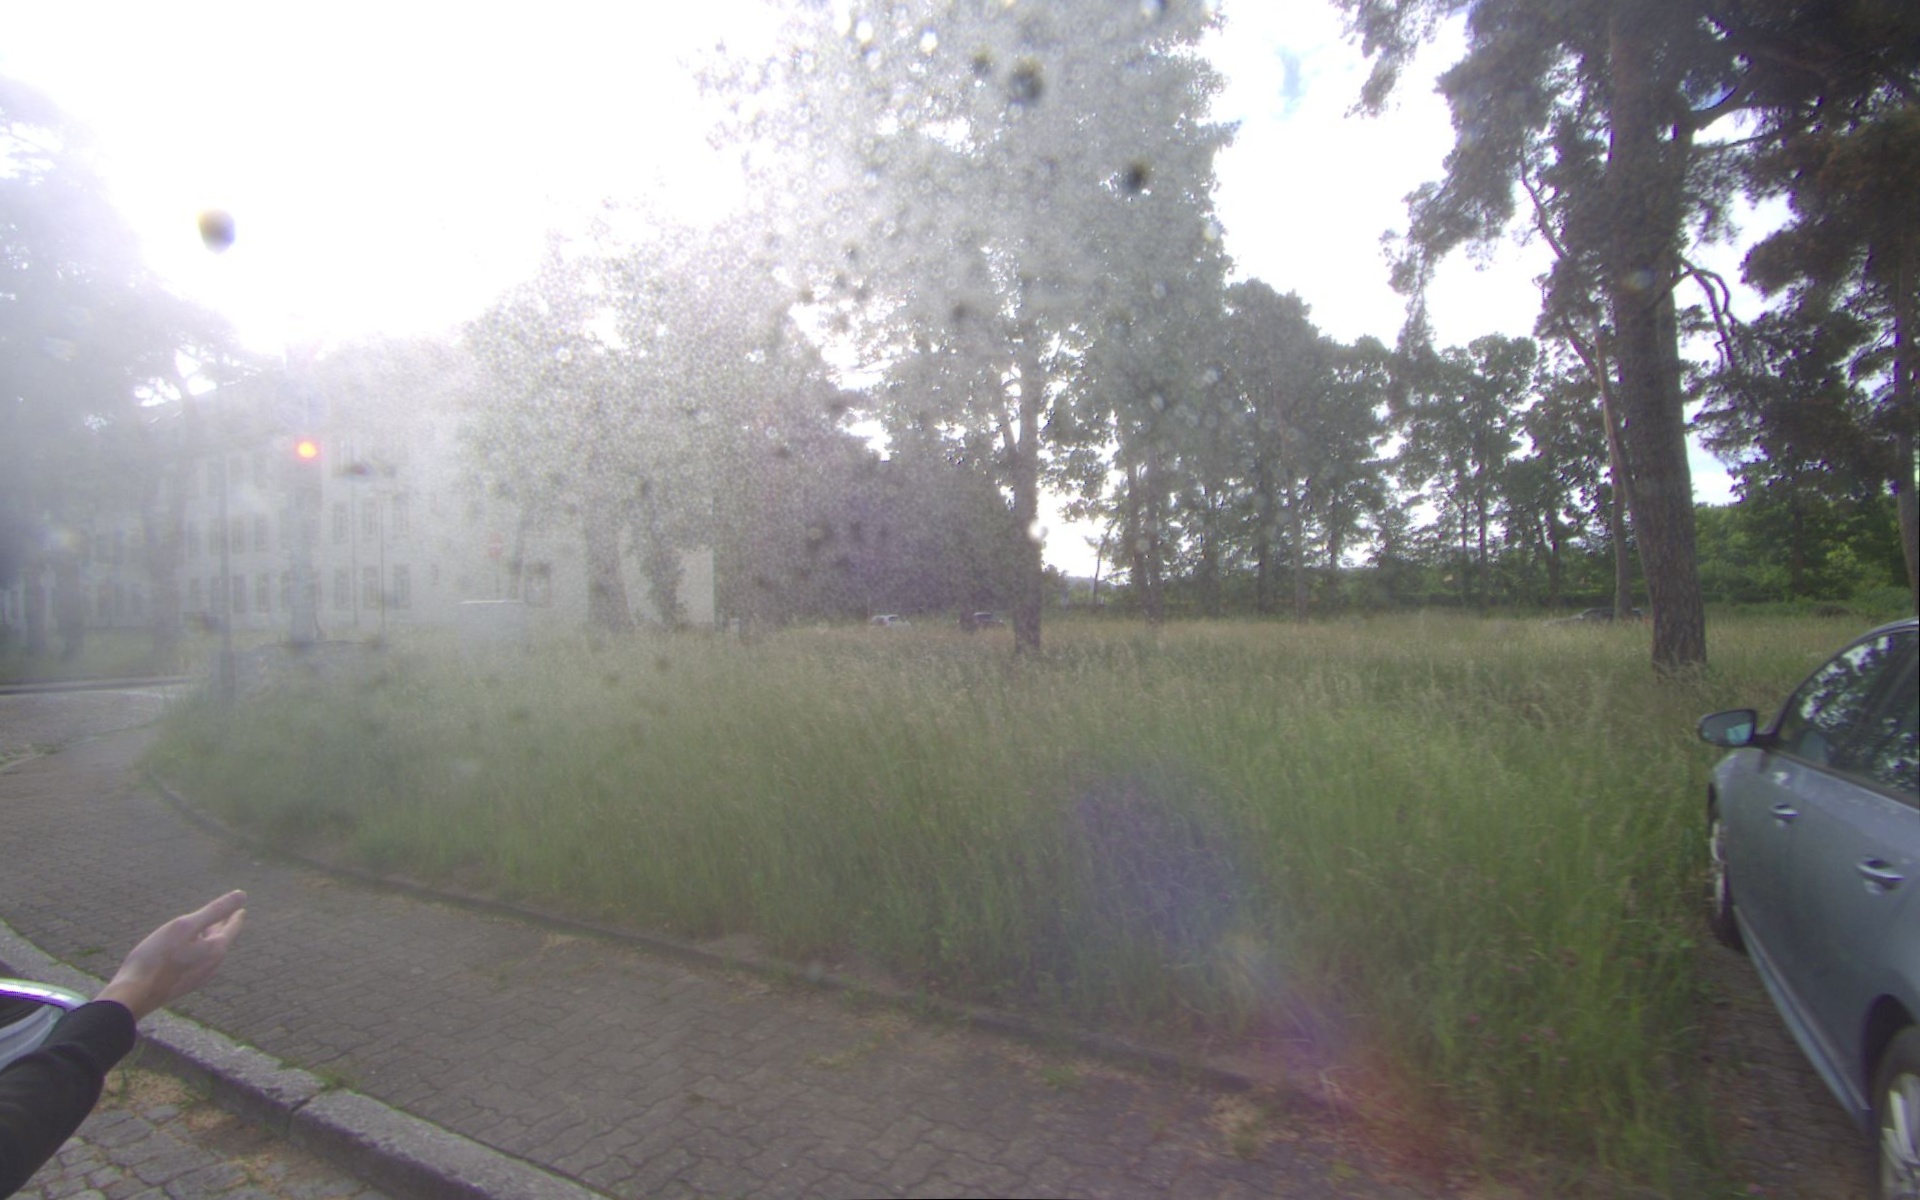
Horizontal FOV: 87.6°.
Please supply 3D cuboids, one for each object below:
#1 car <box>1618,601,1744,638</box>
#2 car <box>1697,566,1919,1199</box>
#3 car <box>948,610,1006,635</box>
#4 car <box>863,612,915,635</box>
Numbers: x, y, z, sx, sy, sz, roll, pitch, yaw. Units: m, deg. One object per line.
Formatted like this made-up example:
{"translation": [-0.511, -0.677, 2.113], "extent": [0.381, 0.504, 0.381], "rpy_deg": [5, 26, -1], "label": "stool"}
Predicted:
{"translation": [32.340, 0.882, 45.078], "extent": [4.384, 1.607, 1.990], "rpy_deg": [-1, 0, 31], "label": "car"}
{"translation": [3.227, 0.657, 2.664], "extent": [1.771, 1.437, 3.978], "rpy_deg": [-1, 0, 33], "label": "car"}
{"translation": [1.119, 1.443, 64.957], "extent": [1.972, 1.553, 3.978], "rpy_deg": [-1, -1, 33], "label": "car"}
{"translation": [-4.880, 1.597, 69.578], "extent": [1.748, 1.553, 3.674], "rpy_deg": [-1, -1, 33], "label": "car"}
